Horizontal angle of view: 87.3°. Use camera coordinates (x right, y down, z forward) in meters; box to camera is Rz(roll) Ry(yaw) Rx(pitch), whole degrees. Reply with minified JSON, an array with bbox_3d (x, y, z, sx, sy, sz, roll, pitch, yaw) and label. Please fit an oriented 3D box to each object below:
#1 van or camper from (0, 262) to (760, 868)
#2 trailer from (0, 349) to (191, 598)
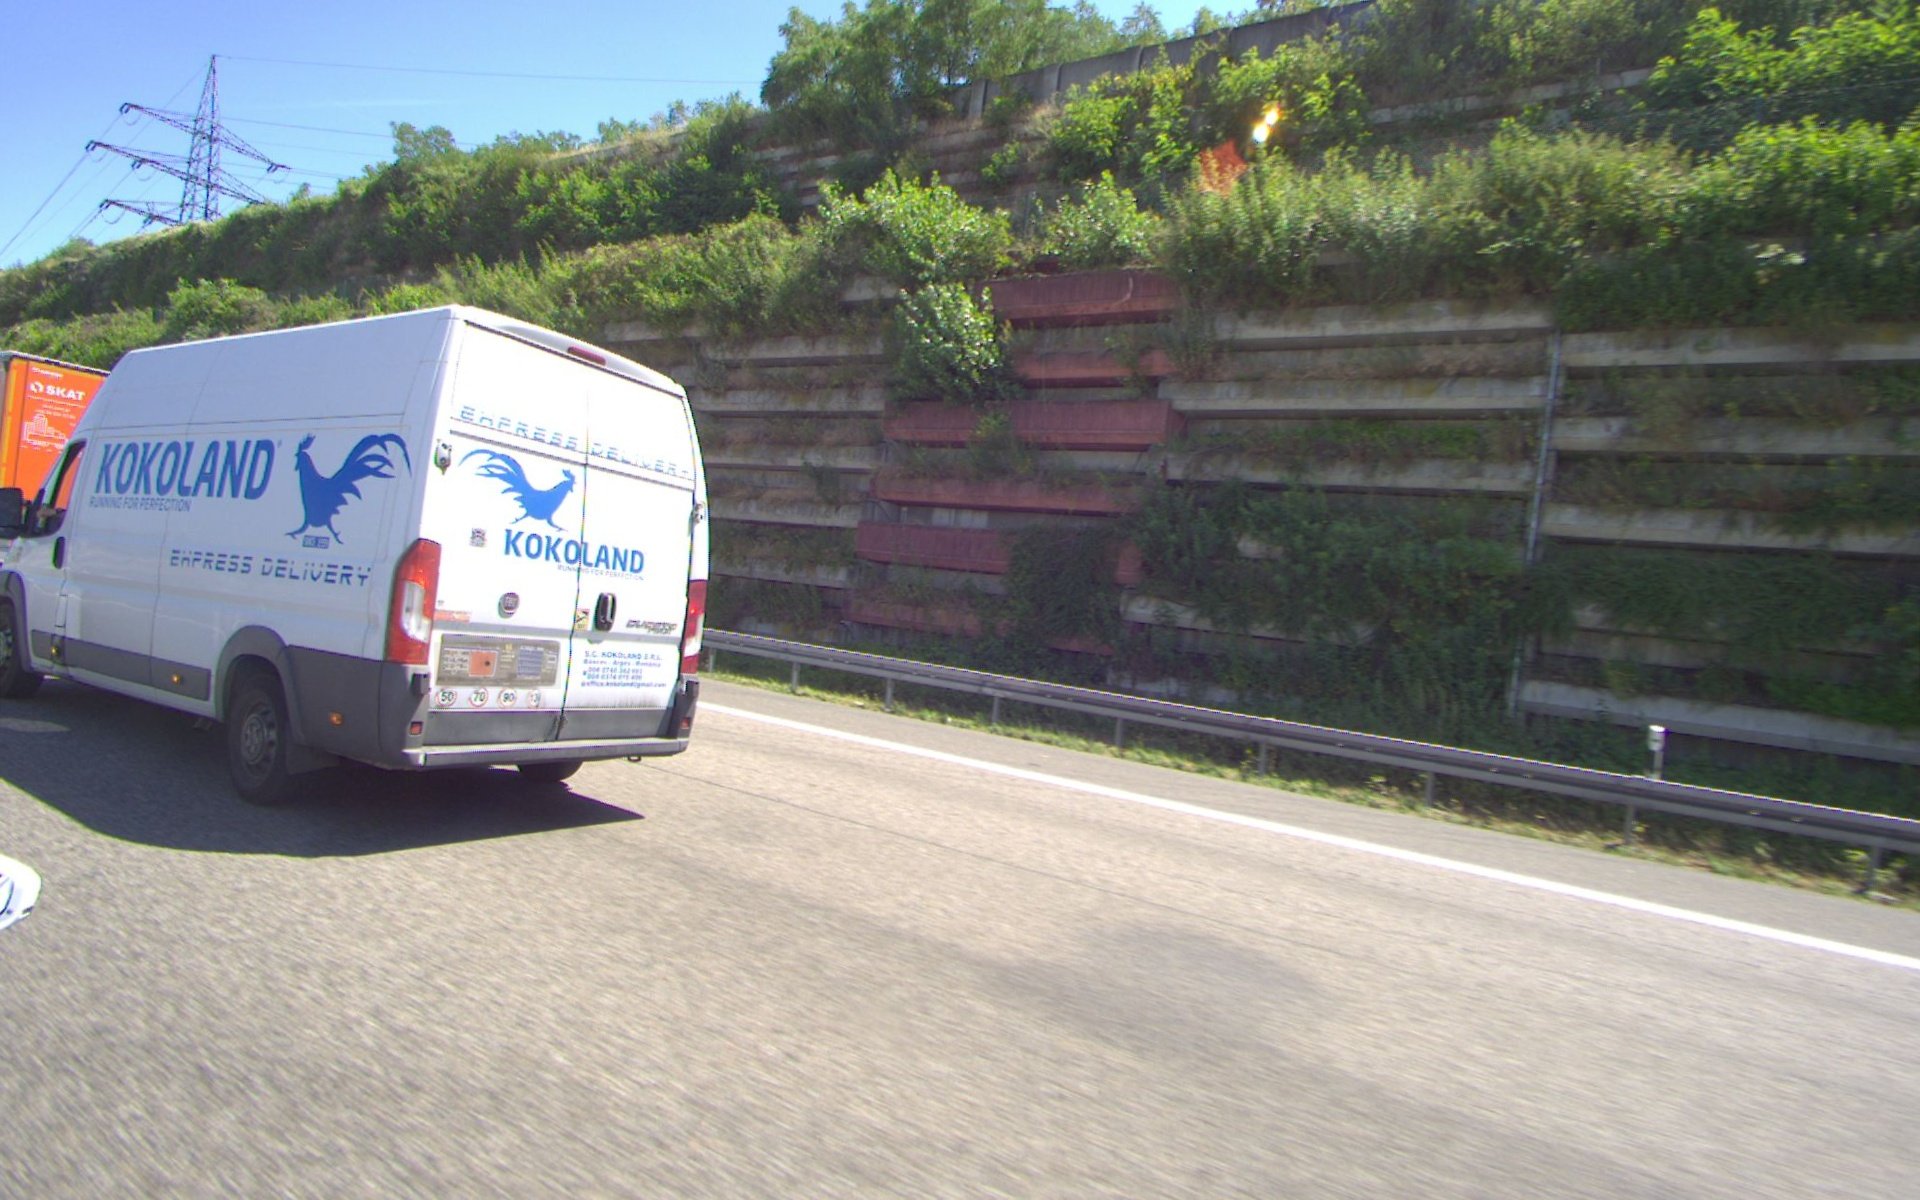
[{"bbox_3d":[-4.786,-0.400,7.255,6.644,2.803,2.099,7,0,31],"label":"van or camper"},{"bbox_3d":[-21.416,-2.807,21.859,13.381,4.053,2.648,7,0,32],"label":"trailer"}]
